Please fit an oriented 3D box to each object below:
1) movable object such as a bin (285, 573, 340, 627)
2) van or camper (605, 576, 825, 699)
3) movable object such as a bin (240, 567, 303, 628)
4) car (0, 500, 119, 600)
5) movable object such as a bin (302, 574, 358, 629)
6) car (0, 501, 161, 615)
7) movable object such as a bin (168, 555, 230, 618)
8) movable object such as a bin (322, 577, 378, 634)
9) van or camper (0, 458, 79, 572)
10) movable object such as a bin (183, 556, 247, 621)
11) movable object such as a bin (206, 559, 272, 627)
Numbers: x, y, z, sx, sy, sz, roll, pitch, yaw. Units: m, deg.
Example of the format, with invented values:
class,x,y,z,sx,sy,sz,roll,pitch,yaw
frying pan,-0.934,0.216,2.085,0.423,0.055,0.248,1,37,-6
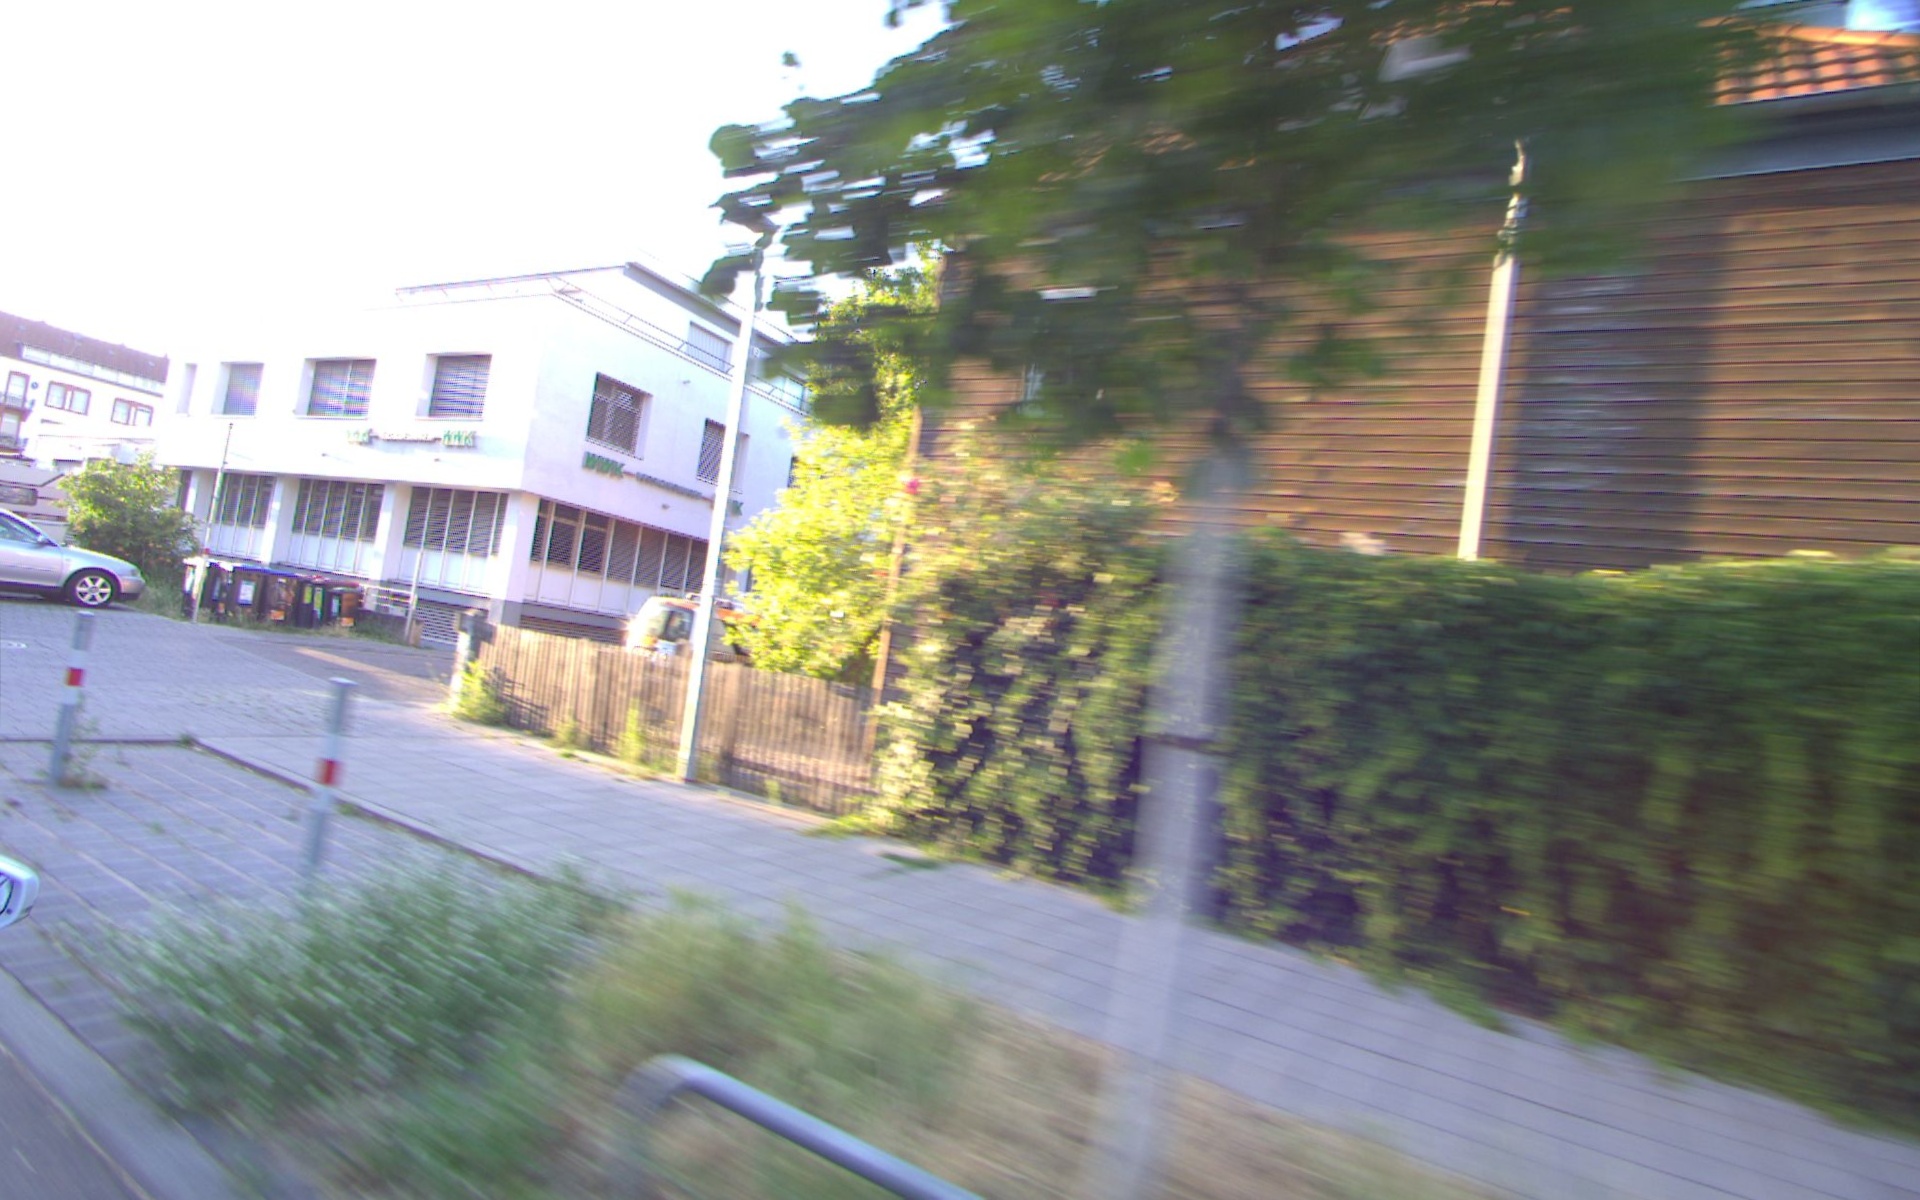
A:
class,x,y,z,sx,sy,sz,roll,pitch,yaw
movable object such as a bin,-13.154,0.006,20.440,0.677,0.969,0.580,8,-2,32
van or camper,-4.190,0.735,17.726,1.751,1.652,3.513,8,-3,26
movable object such as a bin,-12.340,-0.043,18.035,0.677,0.969,0.580,8,-2,32
car,-17.072,-1.049,16.907,1.738,1.496,4.058,8,-2,31
movable object such as a bin,-12.543,0.028,20.040,0.677,0.969,0.580,8,-2,32
car,-15.200,-0.817,15.497,1.738,1.496,4.059,8,-2,31
movable object such as a bin,-13.857,-0.251,18.325,0.677,1.021,0.580,6,-3,32
movable object such as a bin,-11.918,0.111,19.660,0.677,0.969,0.580,8,-2,32
van or camper,-27.154,-2.622,26.237,2.389,2.822,5.621,8,-2,32
movable object such as a bin,-13.006,-0.203,17.559,0.677,1.021,0.580,4,-4,31
movable object such as a bin,-12.359,-0.113,17.242,0.677,1.021,0.580,8,-2,32
